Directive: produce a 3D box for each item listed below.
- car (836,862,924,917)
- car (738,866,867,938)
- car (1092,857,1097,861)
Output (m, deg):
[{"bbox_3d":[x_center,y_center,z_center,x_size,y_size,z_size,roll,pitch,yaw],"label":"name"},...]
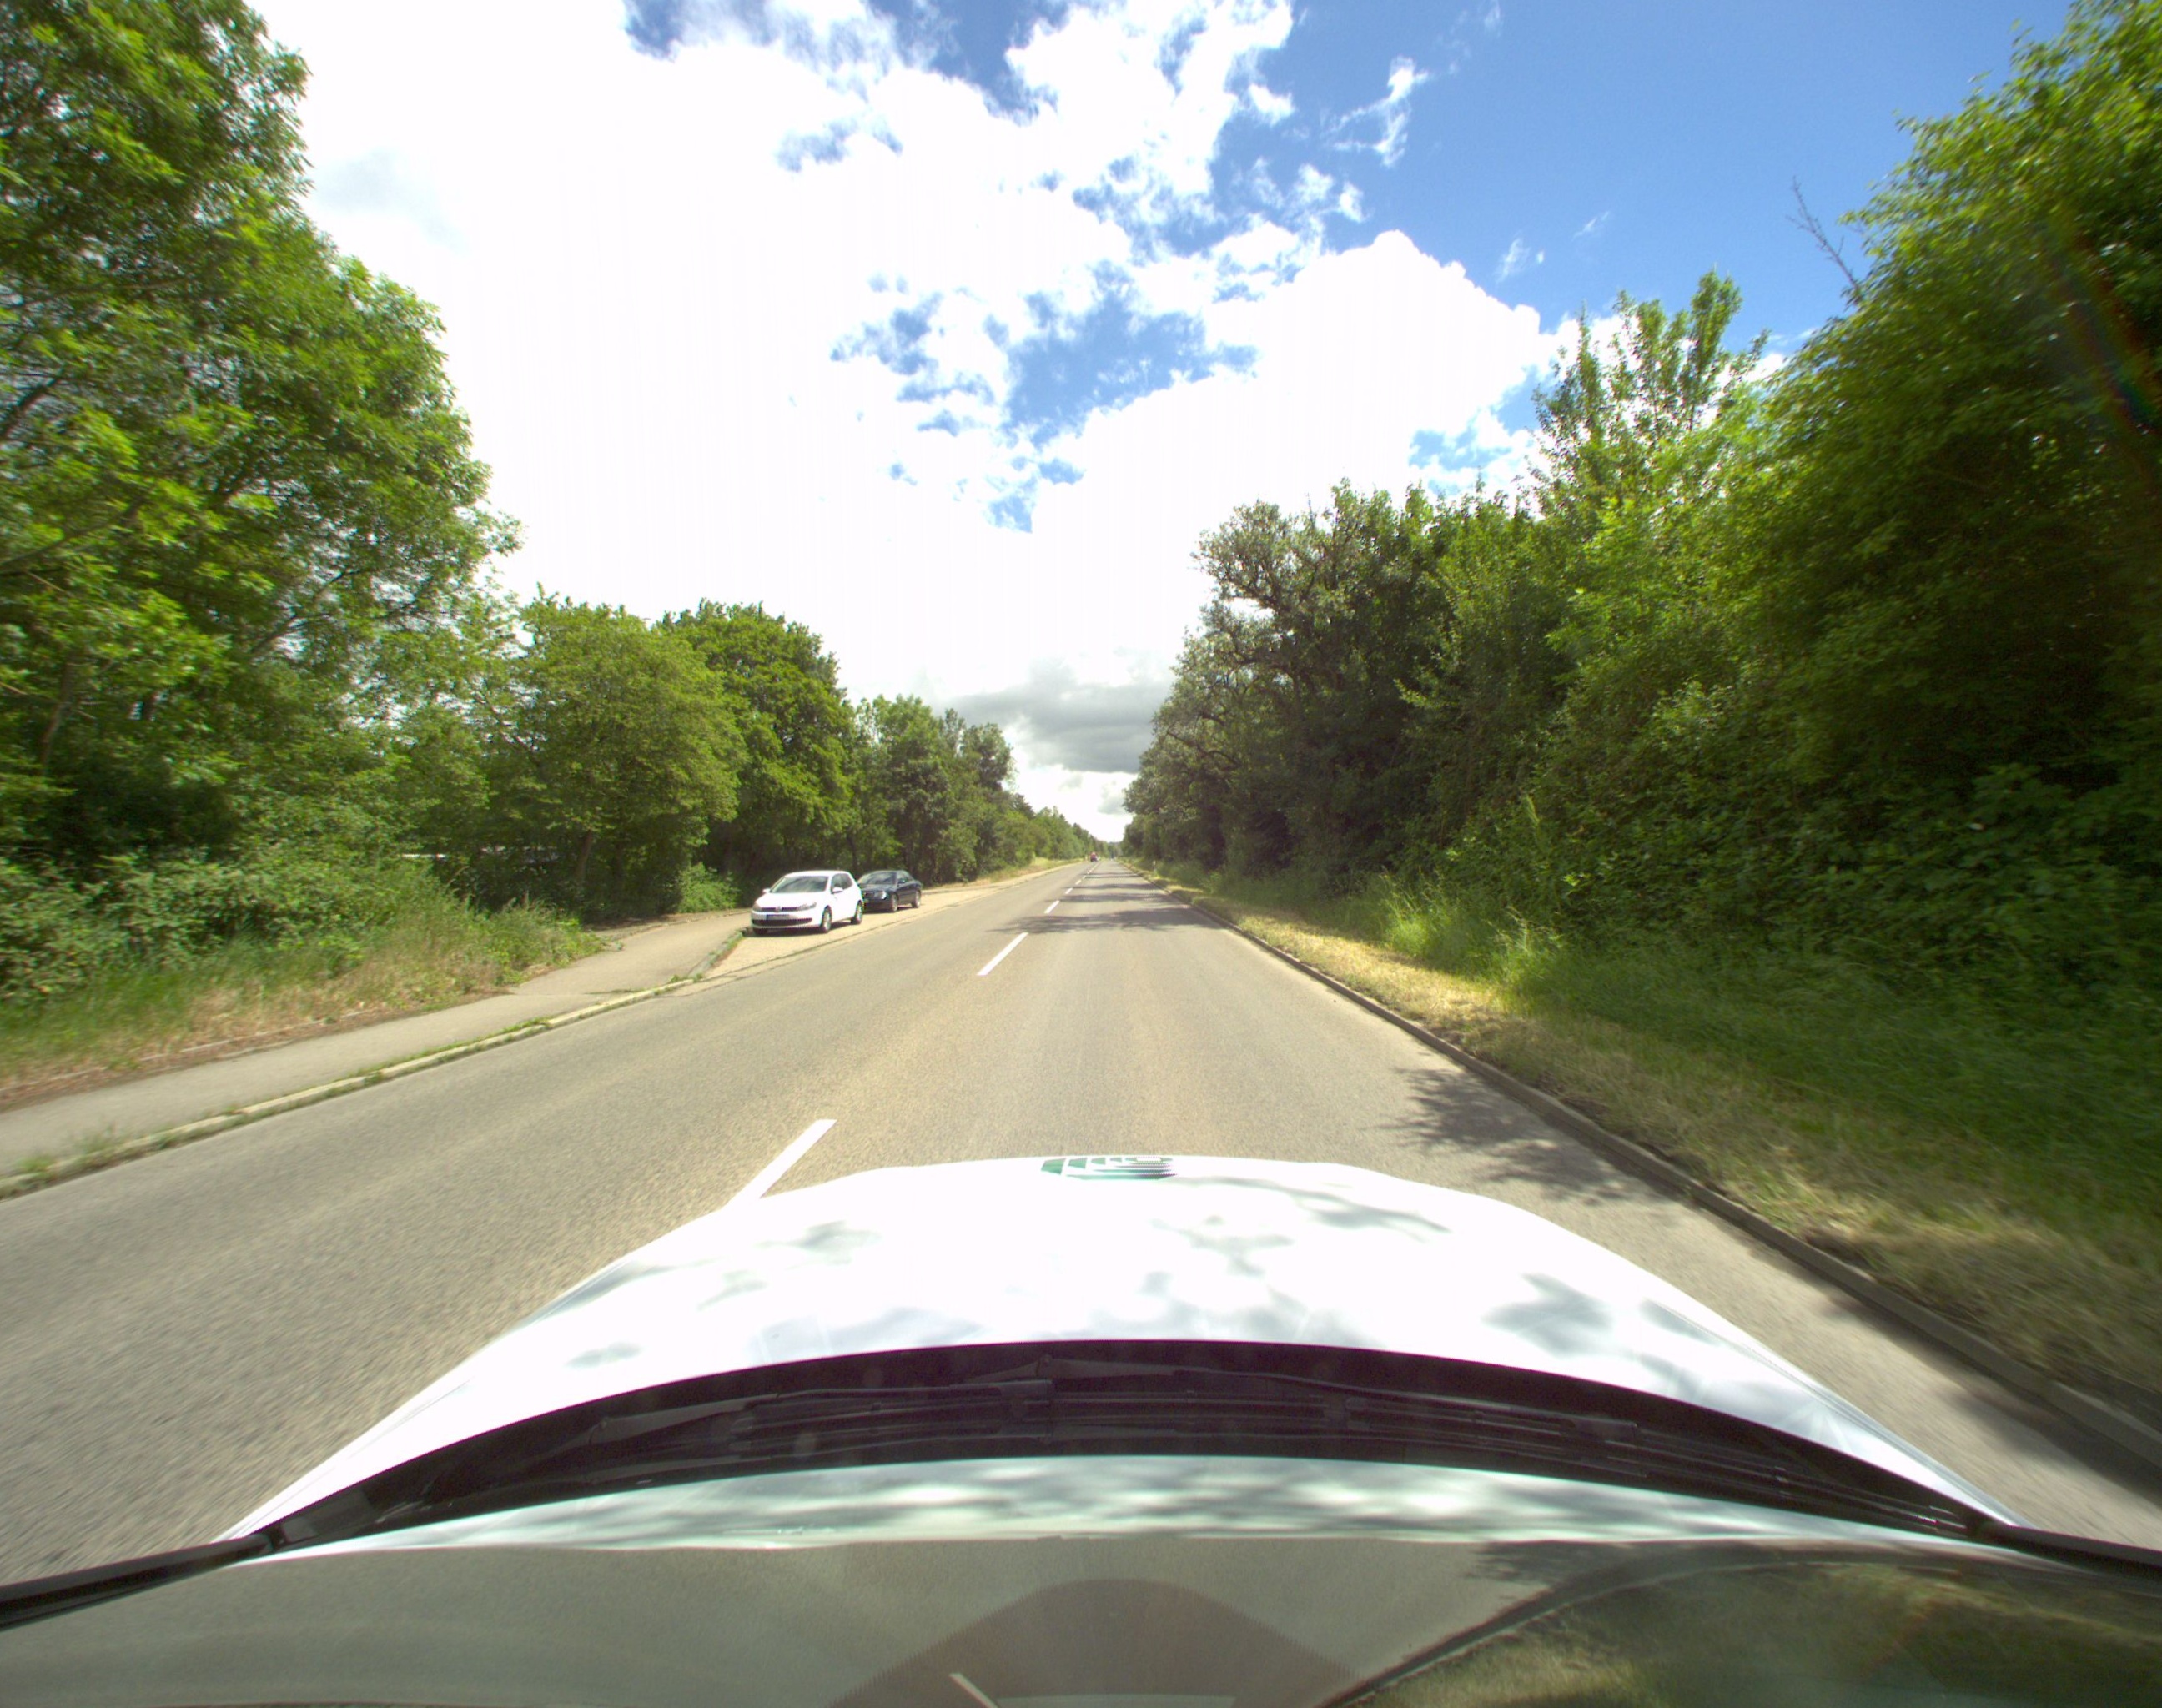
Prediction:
[{"bbox_3d":[-6.799,1.167,27.966,1.791,1.625,3.958,-2,0,3],"label":"car"},{"bbox_3d":[-6.920,1.132,20.715,1.791,1.543,3.956,-1,0,2],"label":"car"},{"bbox_3d":[3.941,1.518,236.504,1.386,1.200,3.017,-3,0,2],"label":"car"}]
